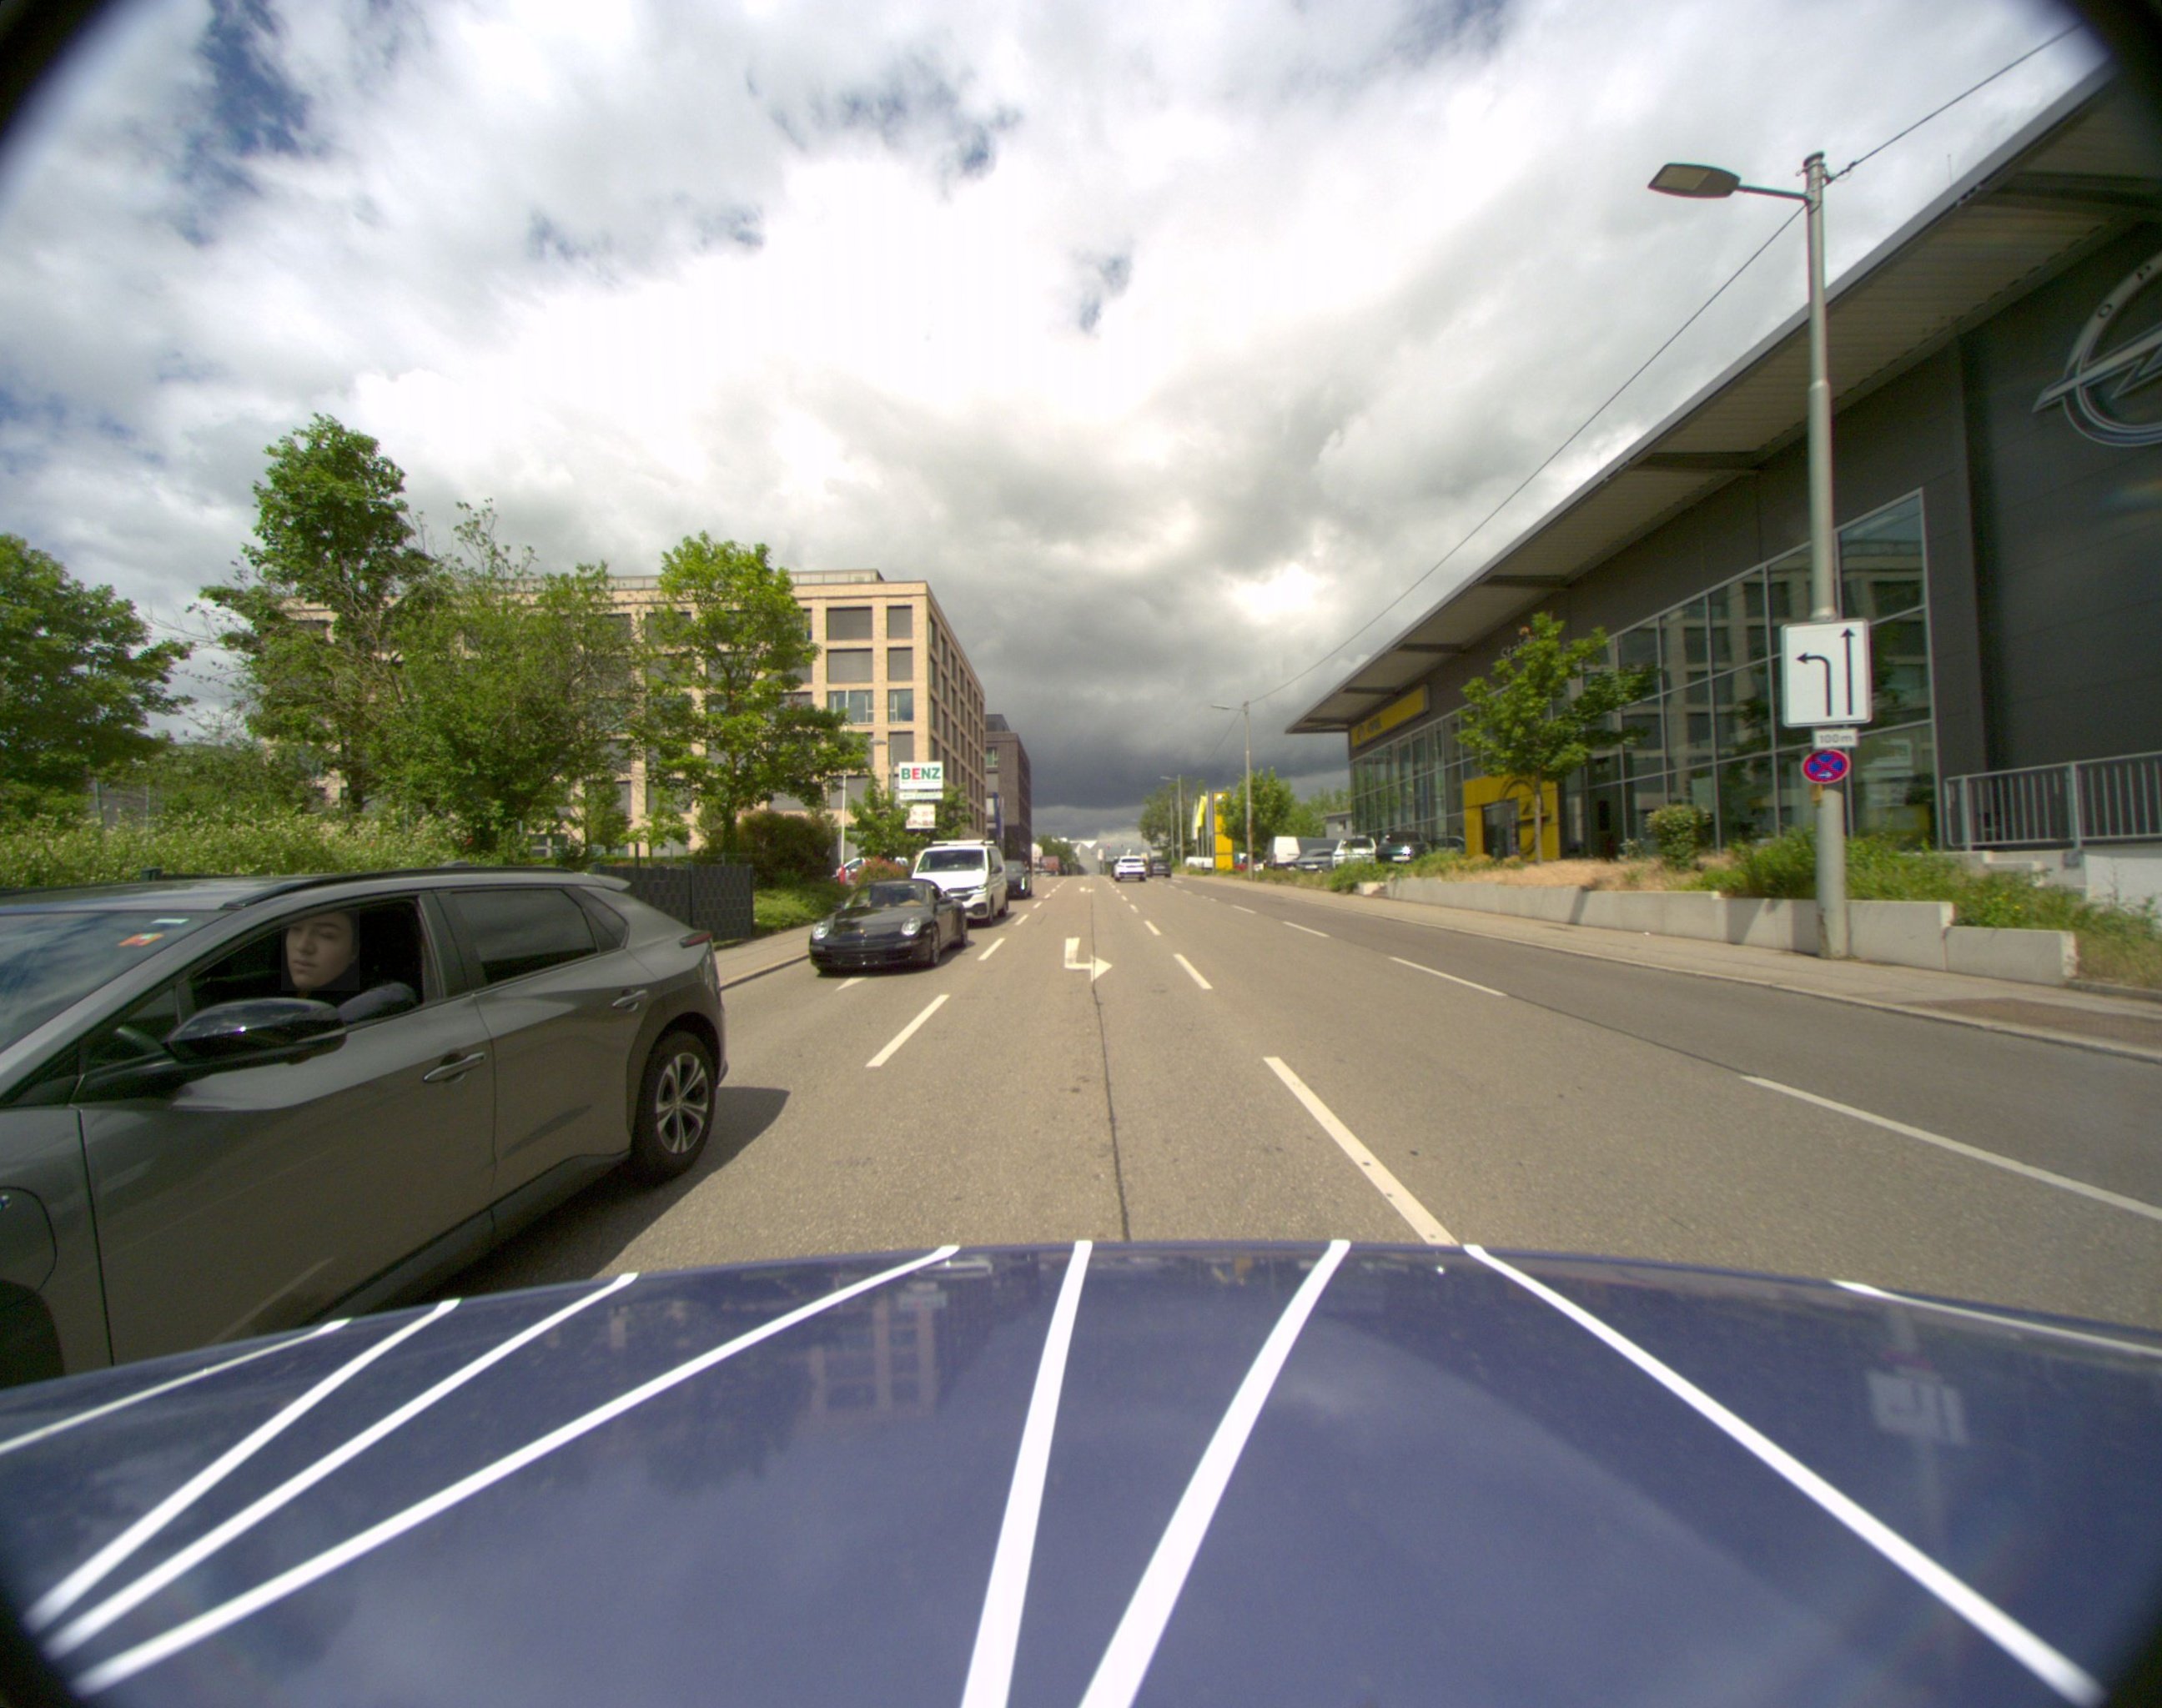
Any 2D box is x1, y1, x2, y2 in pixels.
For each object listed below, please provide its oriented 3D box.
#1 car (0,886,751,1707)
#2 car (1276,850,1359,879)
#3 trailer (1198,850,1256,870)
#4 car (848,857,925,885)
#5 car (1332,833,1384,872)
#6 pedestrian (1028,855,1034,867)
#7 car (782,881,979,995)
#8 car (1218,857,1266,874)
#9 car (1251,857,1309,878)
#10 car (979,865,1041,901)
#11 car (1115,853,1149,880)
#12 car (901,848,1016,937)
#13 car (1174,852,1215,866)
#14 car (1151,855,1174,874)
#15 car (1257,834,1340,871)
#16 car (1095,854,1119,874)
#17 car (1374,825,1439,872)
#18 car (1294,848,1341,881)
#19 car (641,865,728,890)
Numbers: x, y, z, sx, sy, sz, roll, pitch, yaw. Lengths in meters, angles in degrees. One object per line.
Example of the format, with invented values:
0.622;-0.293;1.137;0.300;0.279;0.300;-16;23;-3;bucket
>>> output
-2.979;1.025;2.147;1.924;1.604;4.683;-3;0;1;car
13.338;0.576;43.013;4.108;1.604;1.797;-1;0;-8;car
13.150;0.500;68.682;4.835;1.742;2.095;-1;0;-3;trailer
-11.600;1.001;45.482;4.220;1.567;1.735;-1;0;-4;car
12.272;-0.061;33.547;1.793;1.604;4.115;-1;1;25;car
-6.007;0.819;91.263;0.578;1.497;0.542;-1;1;1;pedestrian
-2.924;1.179;12.203;1.777;1.267;4.569;-3;0;2;car
13.709;0.986;64.796;3.669;1.401;1.815;-1;0;2;car
14.965;1.026;57.286;3.946;1.518;1.561;-1;0;-2;car
-2.719;1.096;30.095;1.777;1.267;4.569;0;0;3;car
3.254;0.808;49.268;1.924;1.604;4.416;-2;0;1;car
-2.845;0.837;18.743;1.964;1.840;4.645;-3;0;1;car
12.568;0.544;84.436;4.252;1.473;2.095;-1;0;-2;car
6.860;0.849;63.979;1.762;1.513;3.959;-1;0;4;car
13.633;-0.105;47.819;4.531;2.182;2.179;-1;1;-1;car
2.183;0.808;63.747;1.797;1.604;4.108;-1;0;-1;car
12.326;-0.194;28.653;1.817;1.604;4.117;0;0;29;car
12.160;0.518;38.936;1.794;1.604;4.116;-1;0;24;car
-23.376;1.381;44.917;4.219;1.410;1.735;-1;0;-1;car
